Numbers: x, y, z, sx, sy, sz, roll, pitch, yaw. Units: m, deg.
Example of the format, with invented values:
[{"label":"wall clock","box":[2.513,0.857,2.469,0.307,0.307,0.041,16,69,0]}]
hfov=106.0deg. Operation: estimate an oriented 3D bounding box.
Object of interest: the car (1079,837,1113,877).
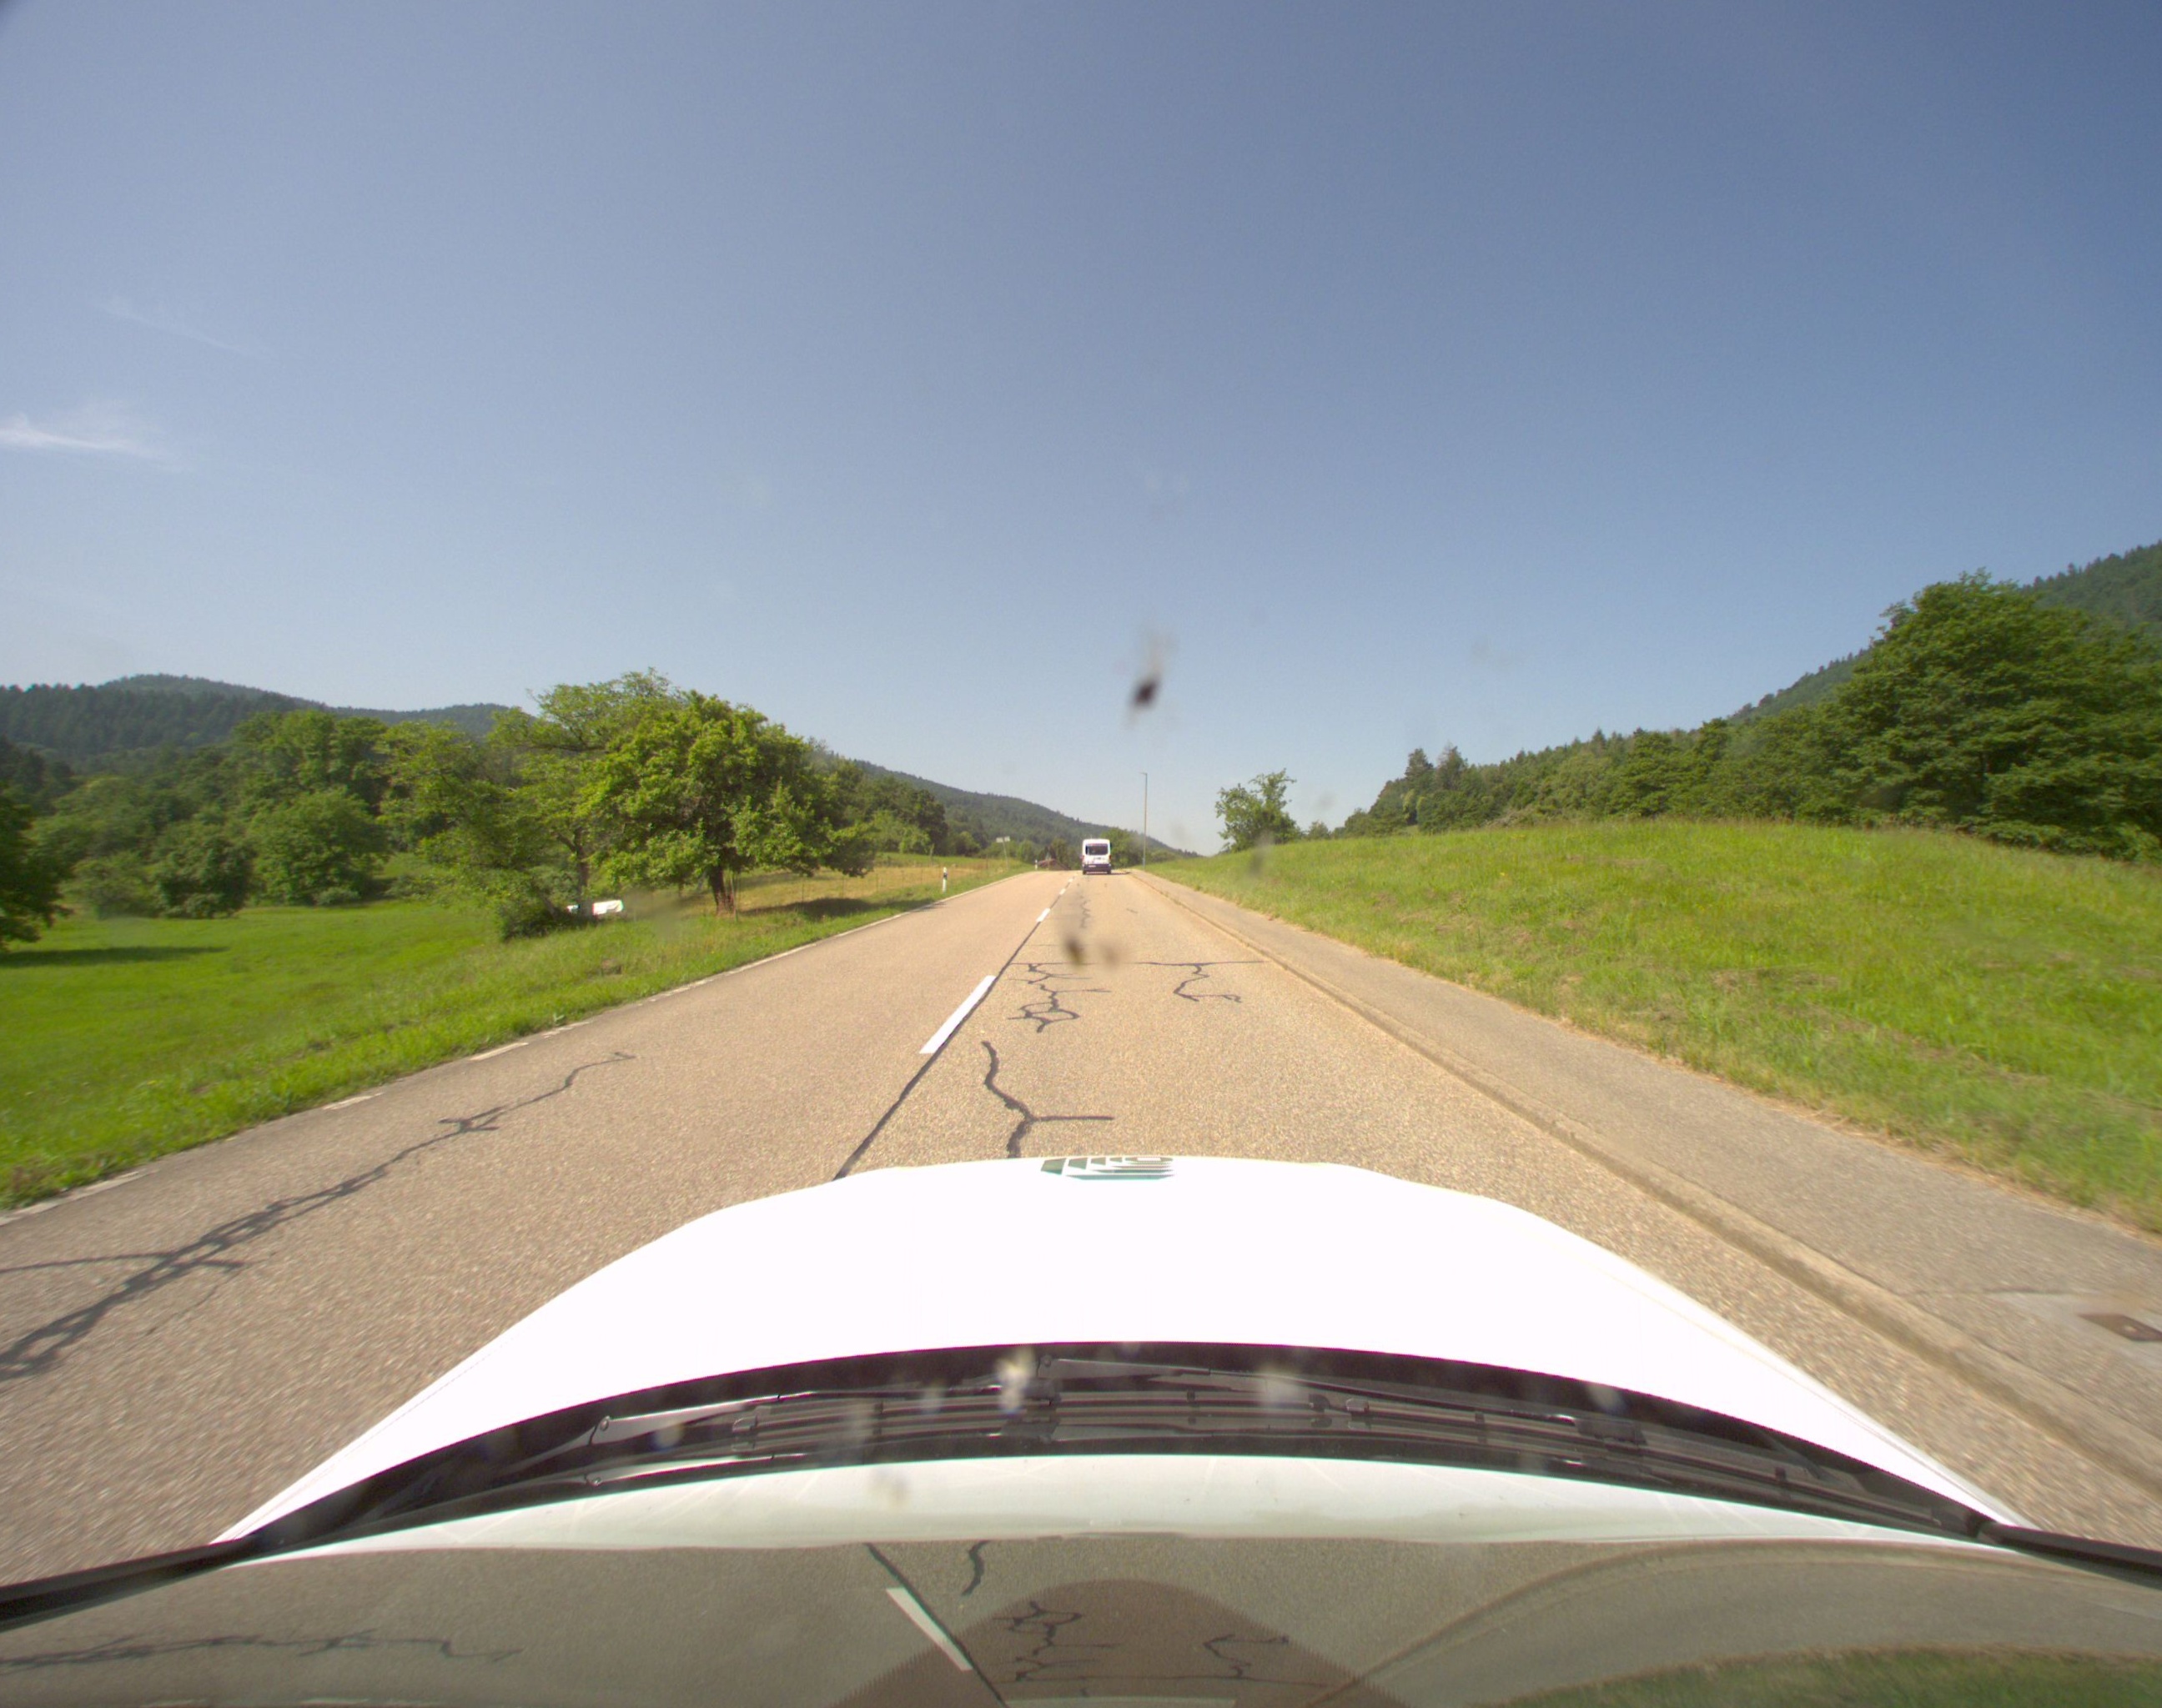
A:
[{"label":"car","box":[1.045,0.273,58.240,2.215,2.526,4.984,-3,-2,1]}]
